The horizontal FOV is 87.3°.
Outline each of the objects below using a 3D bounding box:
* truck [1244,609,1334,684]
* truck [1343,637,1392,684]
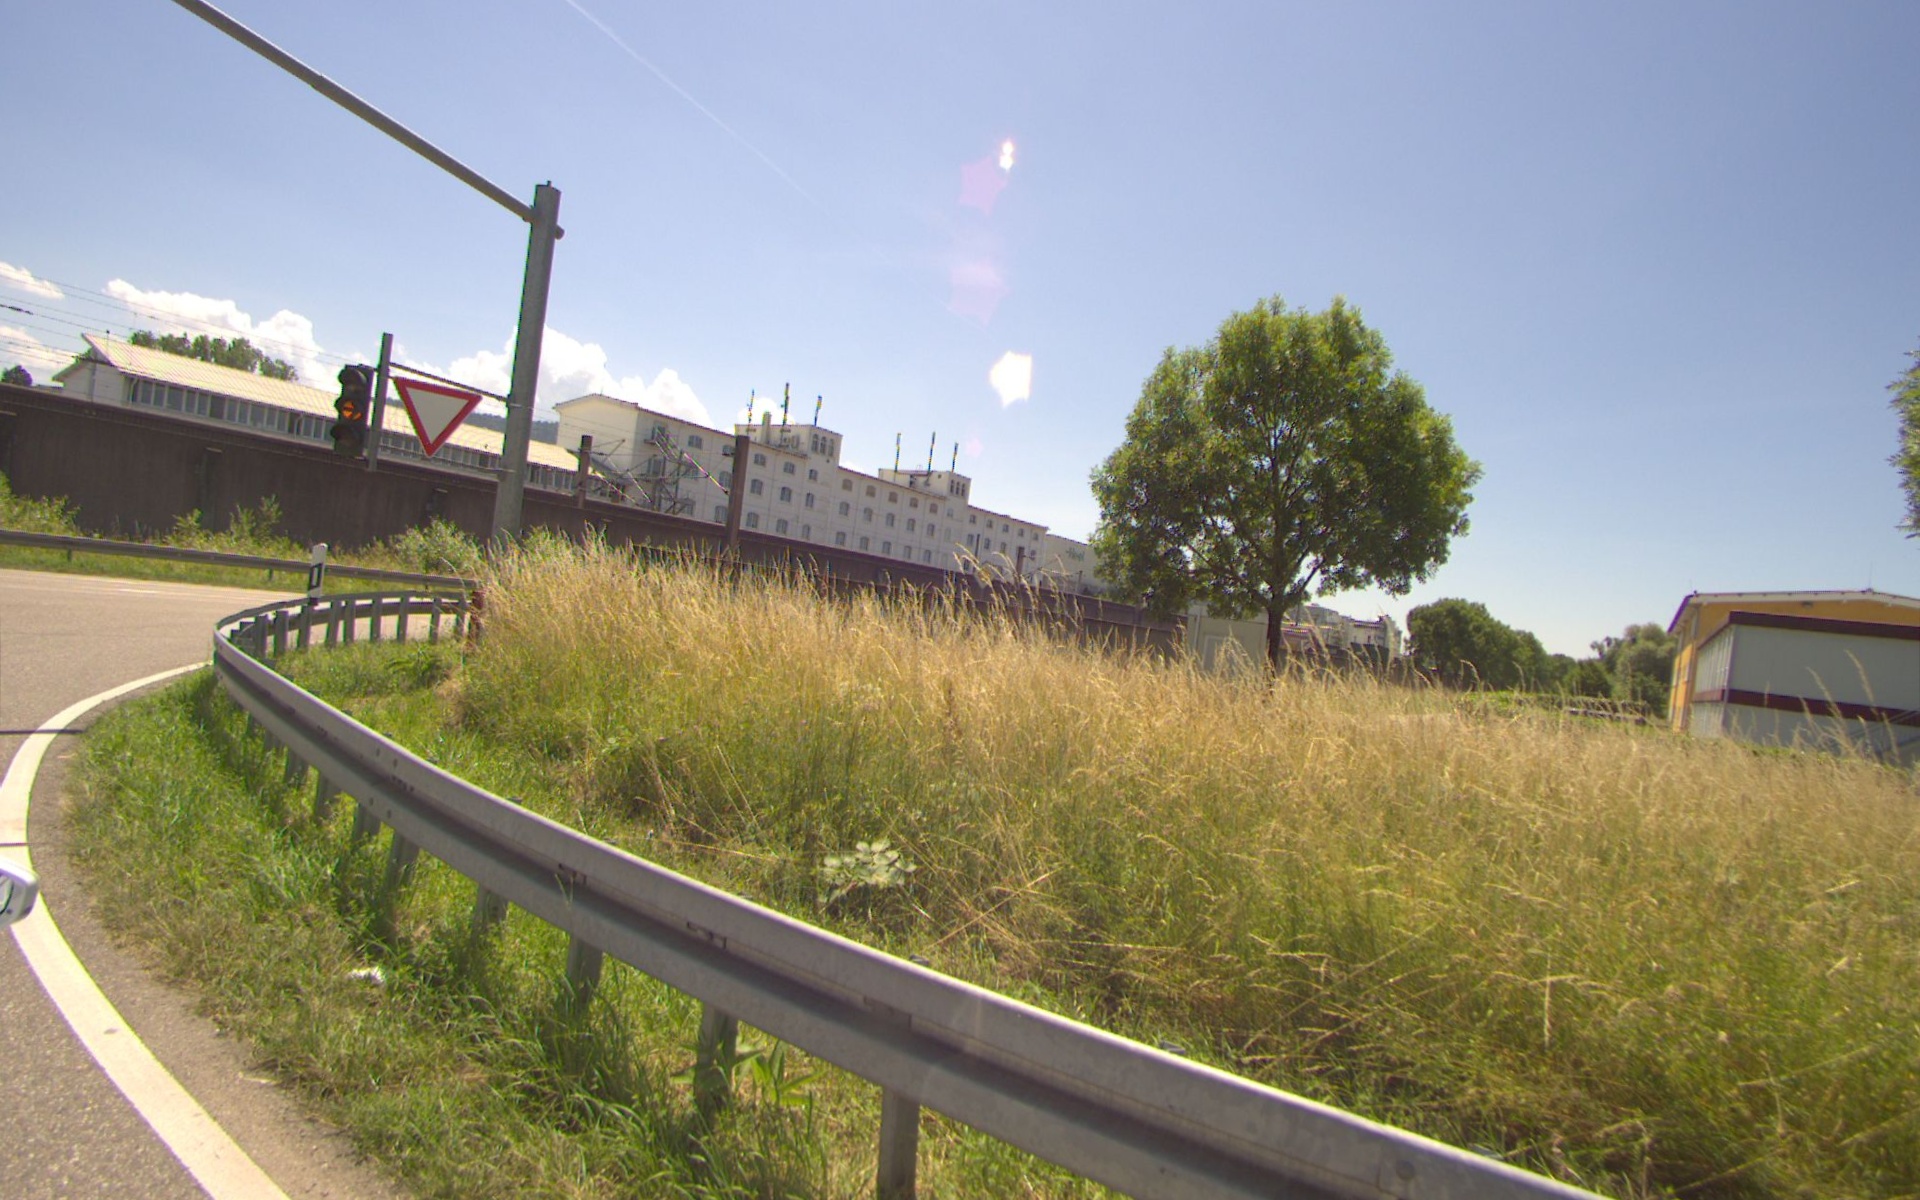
[{"bbox_3d":[23.000,3.399,69.734,2.956,4.228,11.789,6,-2,32],"label":"truck"},{"bbox_3d":[39.576,5.949,97.469,2.954,3.763,10.551,6,-2,28],"label":"truck"}]
